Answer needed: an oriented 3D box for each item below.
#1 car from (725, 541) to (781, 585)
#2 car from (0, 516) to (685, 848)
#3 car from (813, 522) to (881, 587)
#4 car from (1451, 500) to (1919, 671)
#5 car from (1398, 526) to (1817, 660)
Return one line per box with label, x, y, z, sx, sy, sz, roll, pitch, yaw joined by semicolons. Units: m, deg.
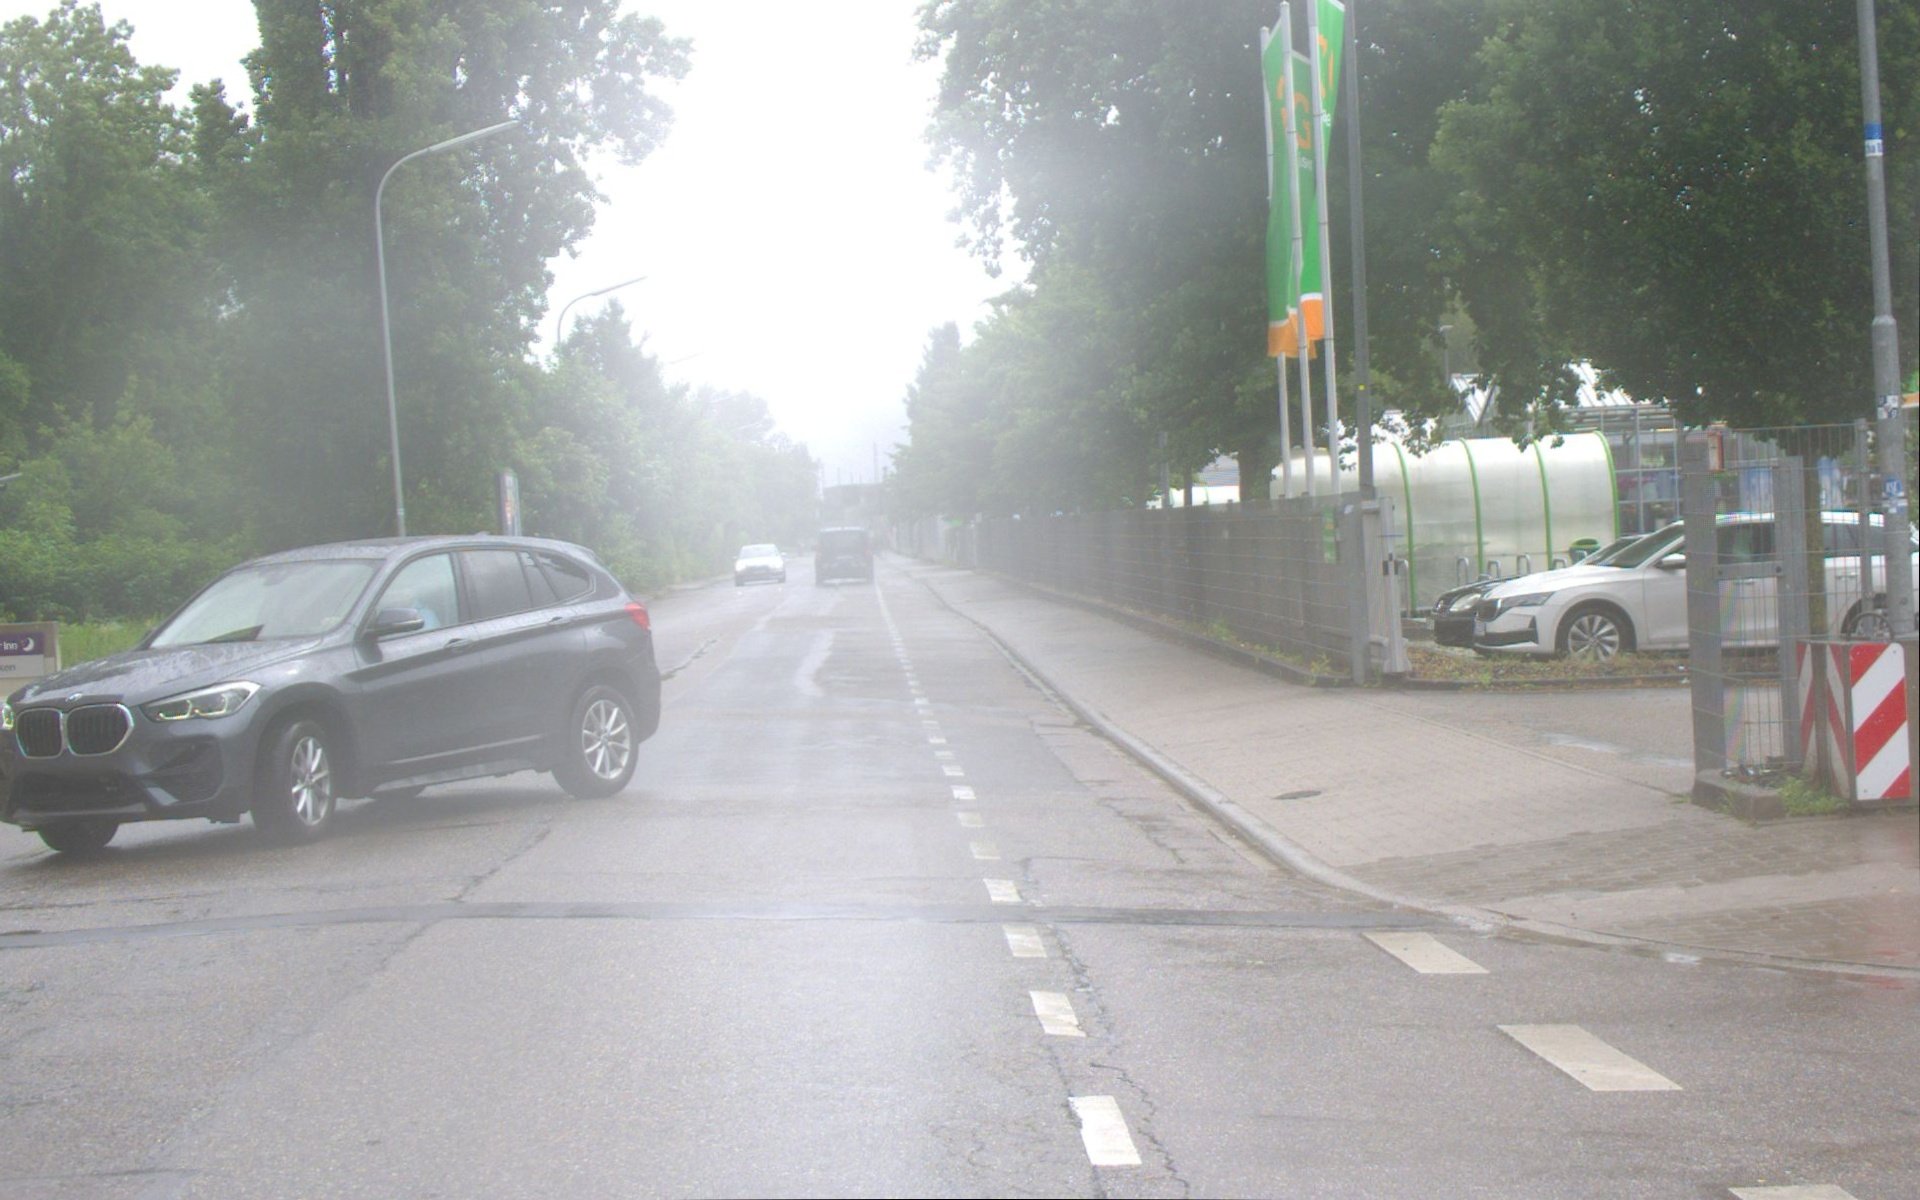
car;-7.567;-1.363;125.813;1.733;1.445;4.381;-5;1;-1
car;-3.539;0.389;19.517;1.762;1.563;4.142;-1;2;32
car;-3.553;-1.406;107.655;1.993;1.904;4.201;-3;0;-2
car;7.191;-0.155;32.660;4.702;1.457;1.891;-2;1;-3
car;6.606;-0.080;35.323;3.938;1.252;1.619;-1;0;-3
